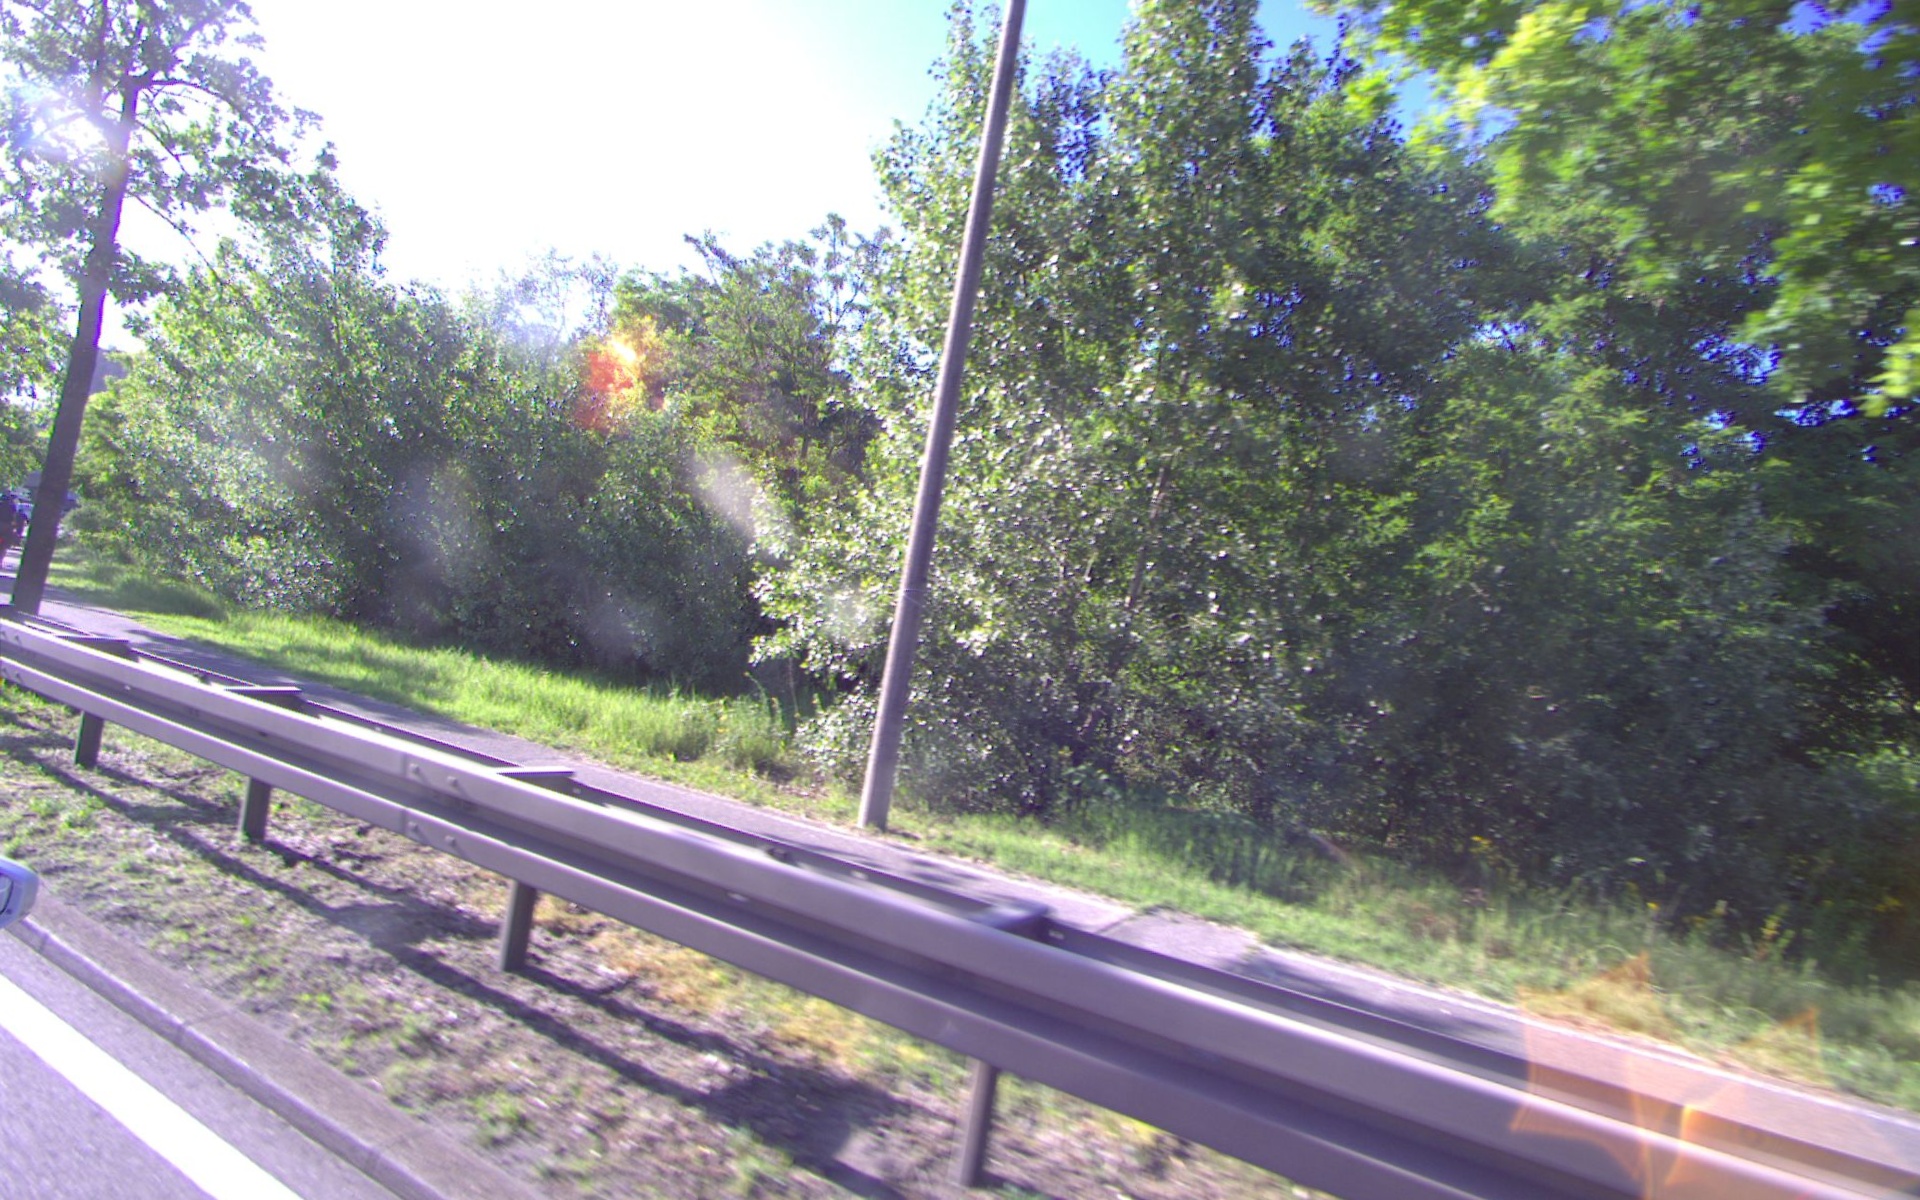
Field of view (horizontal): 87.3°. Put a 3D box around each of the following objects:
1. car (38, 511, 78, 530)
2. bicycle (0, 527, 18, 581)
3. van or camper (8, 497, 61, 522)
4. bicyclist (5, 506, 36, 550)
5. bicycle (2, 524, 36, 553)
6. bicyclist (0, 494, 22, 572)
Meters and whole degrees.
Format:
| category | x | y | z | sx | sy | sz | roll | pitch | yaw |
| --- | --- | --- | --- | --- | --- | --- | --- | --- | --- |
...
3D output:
| category | x | y | z | sx | sy | sz | roll | pitch | yaw |
| --- | --- | --- | --- | --- | --- | --- | --- | --- | --- |
| car | -104.061 | -9.152 | 116.116 | 1.689 | 1.539 | 3.732 | 11 | -2 | -15 |
| bicycle | -20.527 | -1.016 | 21.298 | 0.699 | 1.086 | 1.897 | 9 | -3 | -44 |
| van or camper | -91.131 | -8.881 | 99.163 | 1.807 | 1.810 | 4.529 | 11 | -3 | -17 |
| bicyclist | -41.020 | -3.123 | 43.929 | 0.671 | 1.797 | 0.939 | 8 | -1 | -35 |
| bicycle | -40.999 | -2.671 | 43.836 | 0.691 | 1.108 | 2.098 | 8 | -2 | -35 |
| bicyclist | -20.371 | -1.446 | 21.200 | 0.706 | 1.596 | 0.992 | 8 | -2 | -45 |
